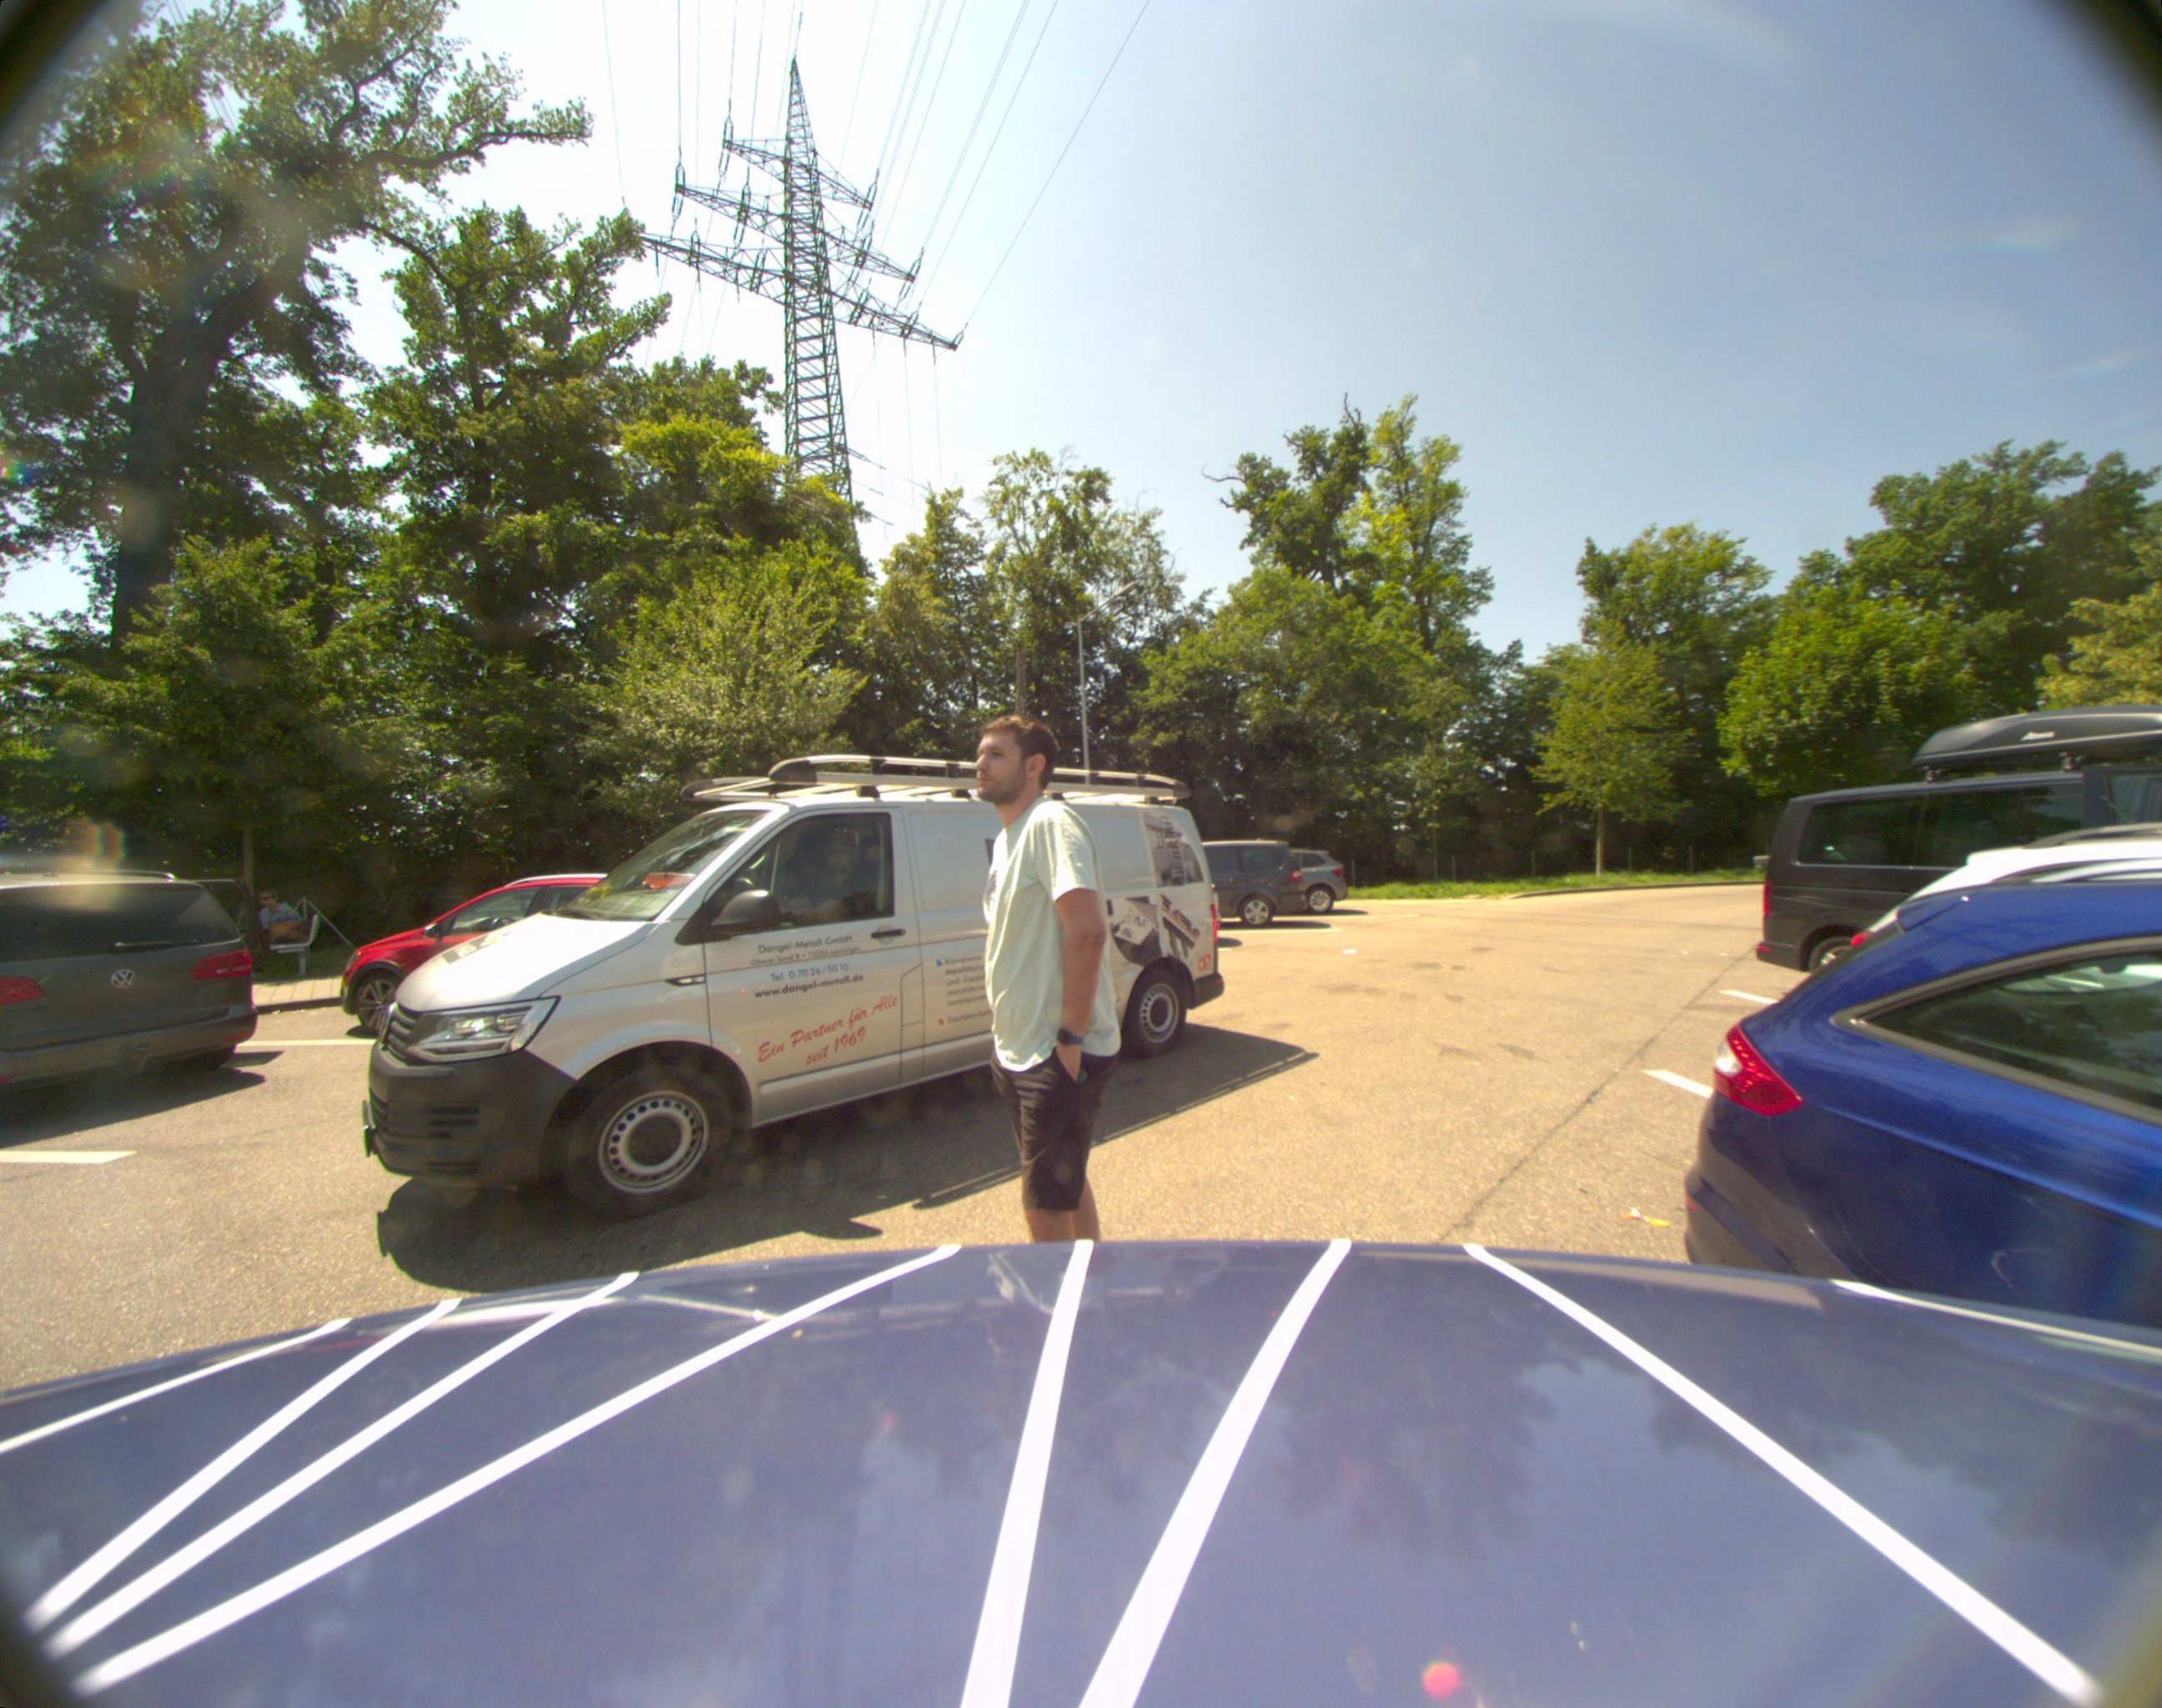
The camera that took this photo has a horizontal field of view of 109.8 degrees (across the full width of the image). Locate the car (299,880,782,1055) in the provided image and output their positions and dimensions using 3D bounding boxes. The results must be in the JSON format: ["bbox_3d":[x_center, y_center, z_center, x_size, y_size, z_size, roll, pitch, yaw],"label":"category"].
[{"bbox_3d":[-5.249,1.067,7.646,3.804,1.449,1.637,-1,1,7],"label":"car"}]

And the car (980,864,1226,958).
[{"bbox_3d":[0.402,0.908,12.739,3.805,1.359,1.803,-1,1,5],"label":"car"}]

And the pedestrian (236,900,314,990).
[{"bbox_3d":[-11.770,1.310,11.097,0.680,1.211,0.675,-4,-2,36],"label":"pedestrian"}]

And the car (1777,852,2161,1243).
[{"bbox_3d":[4.773,0.702,2.425,1.607,1.405,3.743,-2,-1,-1],"label":"car"}]

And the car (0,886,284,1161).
[{"bbox_3d":[-8.350,1.098,5.438,3.950,1.581,1.753,-1,1,11],"label":"car"}]

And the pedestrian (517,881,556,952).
[{"bbox_3d":[-11.000,1.250,15.339,0.490,1.367,0.506,-2,0,41],"label":"pedestrian"}]

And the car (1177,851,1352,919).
[{"bbox_3d":[4.251,0.708,18.113,3.805,1.468,1.743,-1,1,5],"label":"car"}]

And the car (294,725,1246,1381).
[{"bbox_3d":[-1.302,0.633,5.042,5.323,2.137,1.995,-2,-1,-44],"label":"car"}]

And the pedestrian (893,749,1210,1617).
[{"bbox_3d":[-0.136,0.702,2.075,0.634,1.857,0.747,-2,0,-17],"label":"pedestrian"}]

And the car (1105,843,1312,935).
[{"bbox_3d":[2.504,0.681,15.489,3.882,1.680,1.882,-1,0,5],"label":"car"}]

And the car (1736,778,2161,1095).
[{"bbox_3d":[7.301,0.456,5.022,2.048,1.850,4.430,-2,-1,-1],"label":"car"}]

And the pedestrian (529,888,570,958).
[{"bbox_3d":[-10.174,1.301,14.533,0.490,1.291,0.506,-2,0,41],"label":"pedestrian"}]
